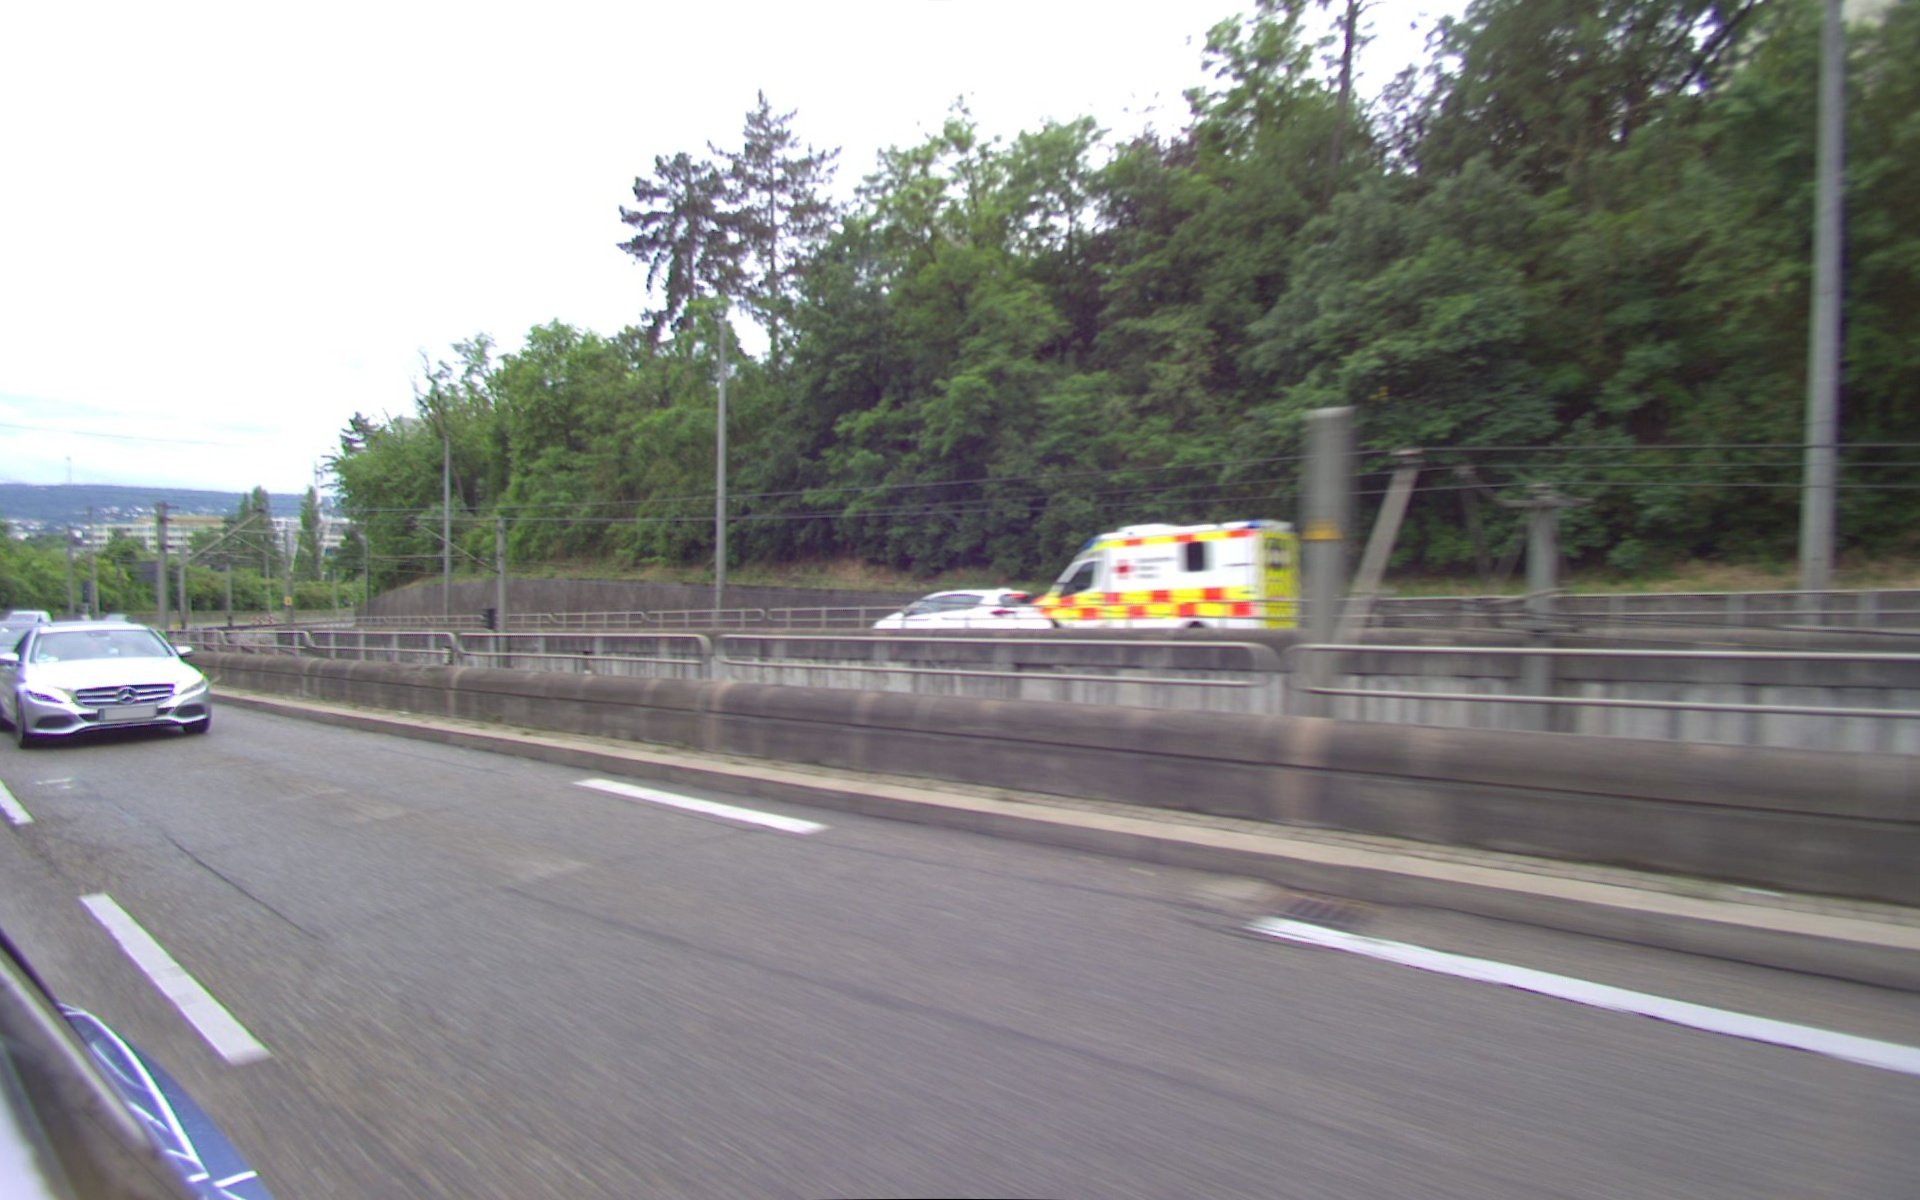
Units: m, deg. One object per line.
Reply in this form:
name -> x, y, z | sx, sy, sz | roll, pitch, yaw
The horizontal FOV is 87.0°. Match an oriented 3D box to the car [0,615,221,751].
car -> -11.266, 0.947, 13.059 | 4.312, 1.413, 1.838 | -1, 0, 40

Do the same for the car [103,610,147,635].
car -> -70.012, 1.888, 84.925 | 1.965, 2.029, 4.509 | 0, -1, -27

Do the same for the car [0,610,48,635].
car -> -67.598, 1.624, 72.997 | 1.780, 1.521, 4.013 | -3, 3, -30

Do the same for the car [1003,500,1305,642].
car -> 4.138, -0.540, 22.456 | 6.338, 2.755, 2.161 | 0, 0, 39

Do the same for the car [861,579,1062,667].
car -> -0.024, 0.457, 21.719 | 4.106, 1.717, 1.800 | 0, 0, 39

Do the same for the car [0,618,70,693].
car -> -20.478, 1.156, 21.748 | 3.888, 1.482, 1.706 | -1, 0, 44
